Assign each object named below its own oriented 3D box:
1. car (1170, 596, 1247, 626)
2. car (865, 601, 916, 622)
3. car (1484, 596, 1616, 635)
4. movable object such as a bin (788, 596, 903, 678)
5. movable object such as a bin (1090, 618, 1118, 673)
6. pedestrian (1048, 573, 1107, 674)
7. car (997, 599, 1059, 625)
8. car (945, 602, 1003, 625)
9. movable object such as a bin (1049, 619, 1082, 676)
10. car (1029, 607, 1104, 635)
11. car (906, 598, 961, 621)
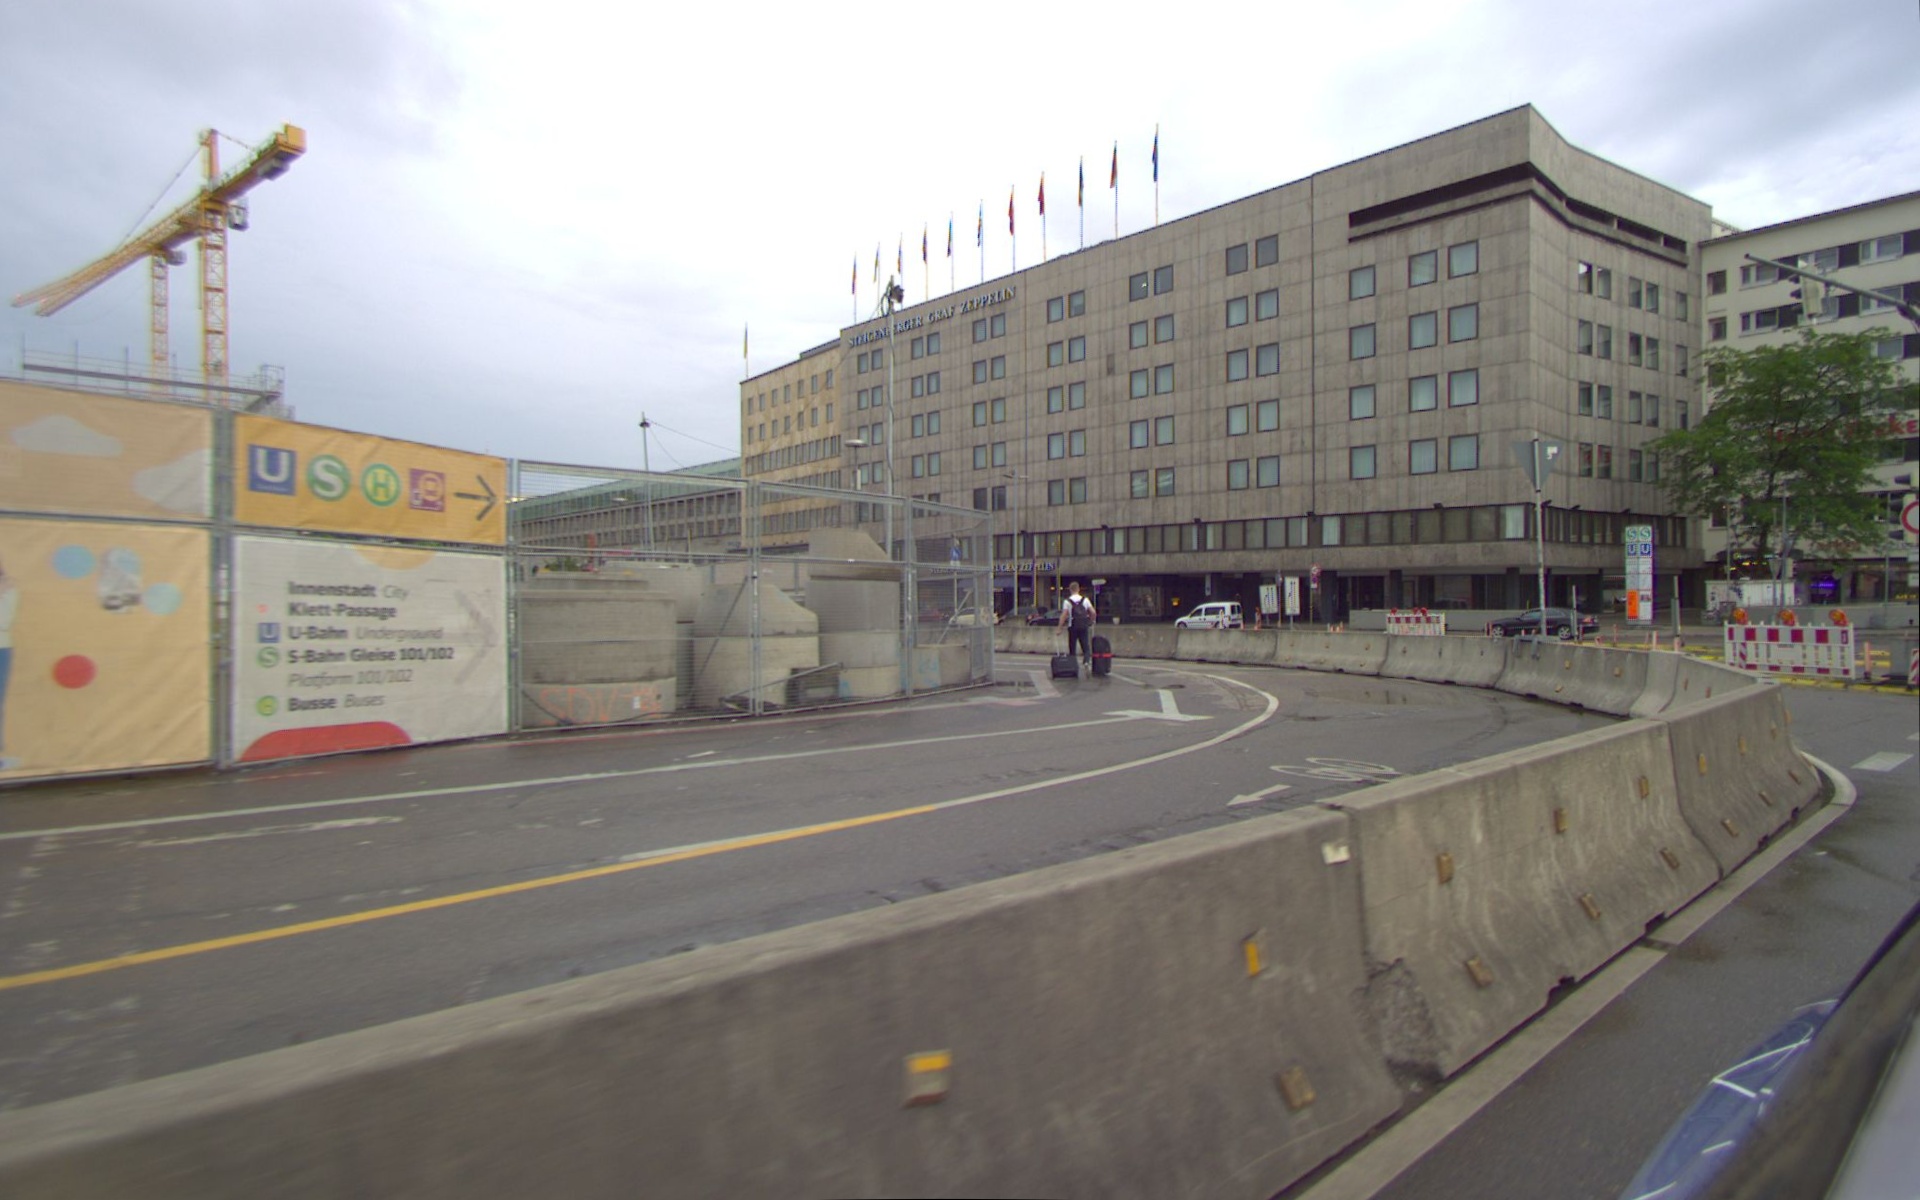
[{"bbox_3d":[15.039,0.669,61.405,1.750,1.785,4.362,0,0,-42],"label":"car"},{"bbox_3d":[-5.895,0.960,85.178,1.876,1.681,4.607,0,-1,-42],"label":"car"},{"bbox_3d":[25.853,0.655,44.457,1.985,1.619,4.651,0,-1,-44],"label":"car"},{"bbox_3d":[-2.222,0.704,19.658,1.858,1.489,1.188,2,-1,-33],"label":"movable object such as a bin"},{"bbox_3d":[2.791,0.873,19.651,0.423,1.029,0.522,-1,-1,-4],"label":"movable object such as a bin"},{"bbox_3d":[2.255,0.444,19.561,0.983,1.889,0.779,-1,-1,-4],"label":"pedestrian"},{"bbox_3d":[4.858,0.847,72.852,1.790,1.750,4.507,0,0,-40],"label":"car"},{"bbox_3d":[1.015,1.025,76.946,1.791,1.719,4.568,0,0,-42],"label":"car"},{"bbox_3d":[1.978,0.885,19.045,0.509,1.029,0.554,-1,-1,-4],"label":"movable object such as a bin"},{"bbox_3d":[6.612,1.281,62.997,1.981,1.619,4.659,0,0,-38],"label":"car"},{"bbox_3d":[-2.151,0.780,80.907,1.874,1.790,4.640,0,0,-40],"label":"car"}]
